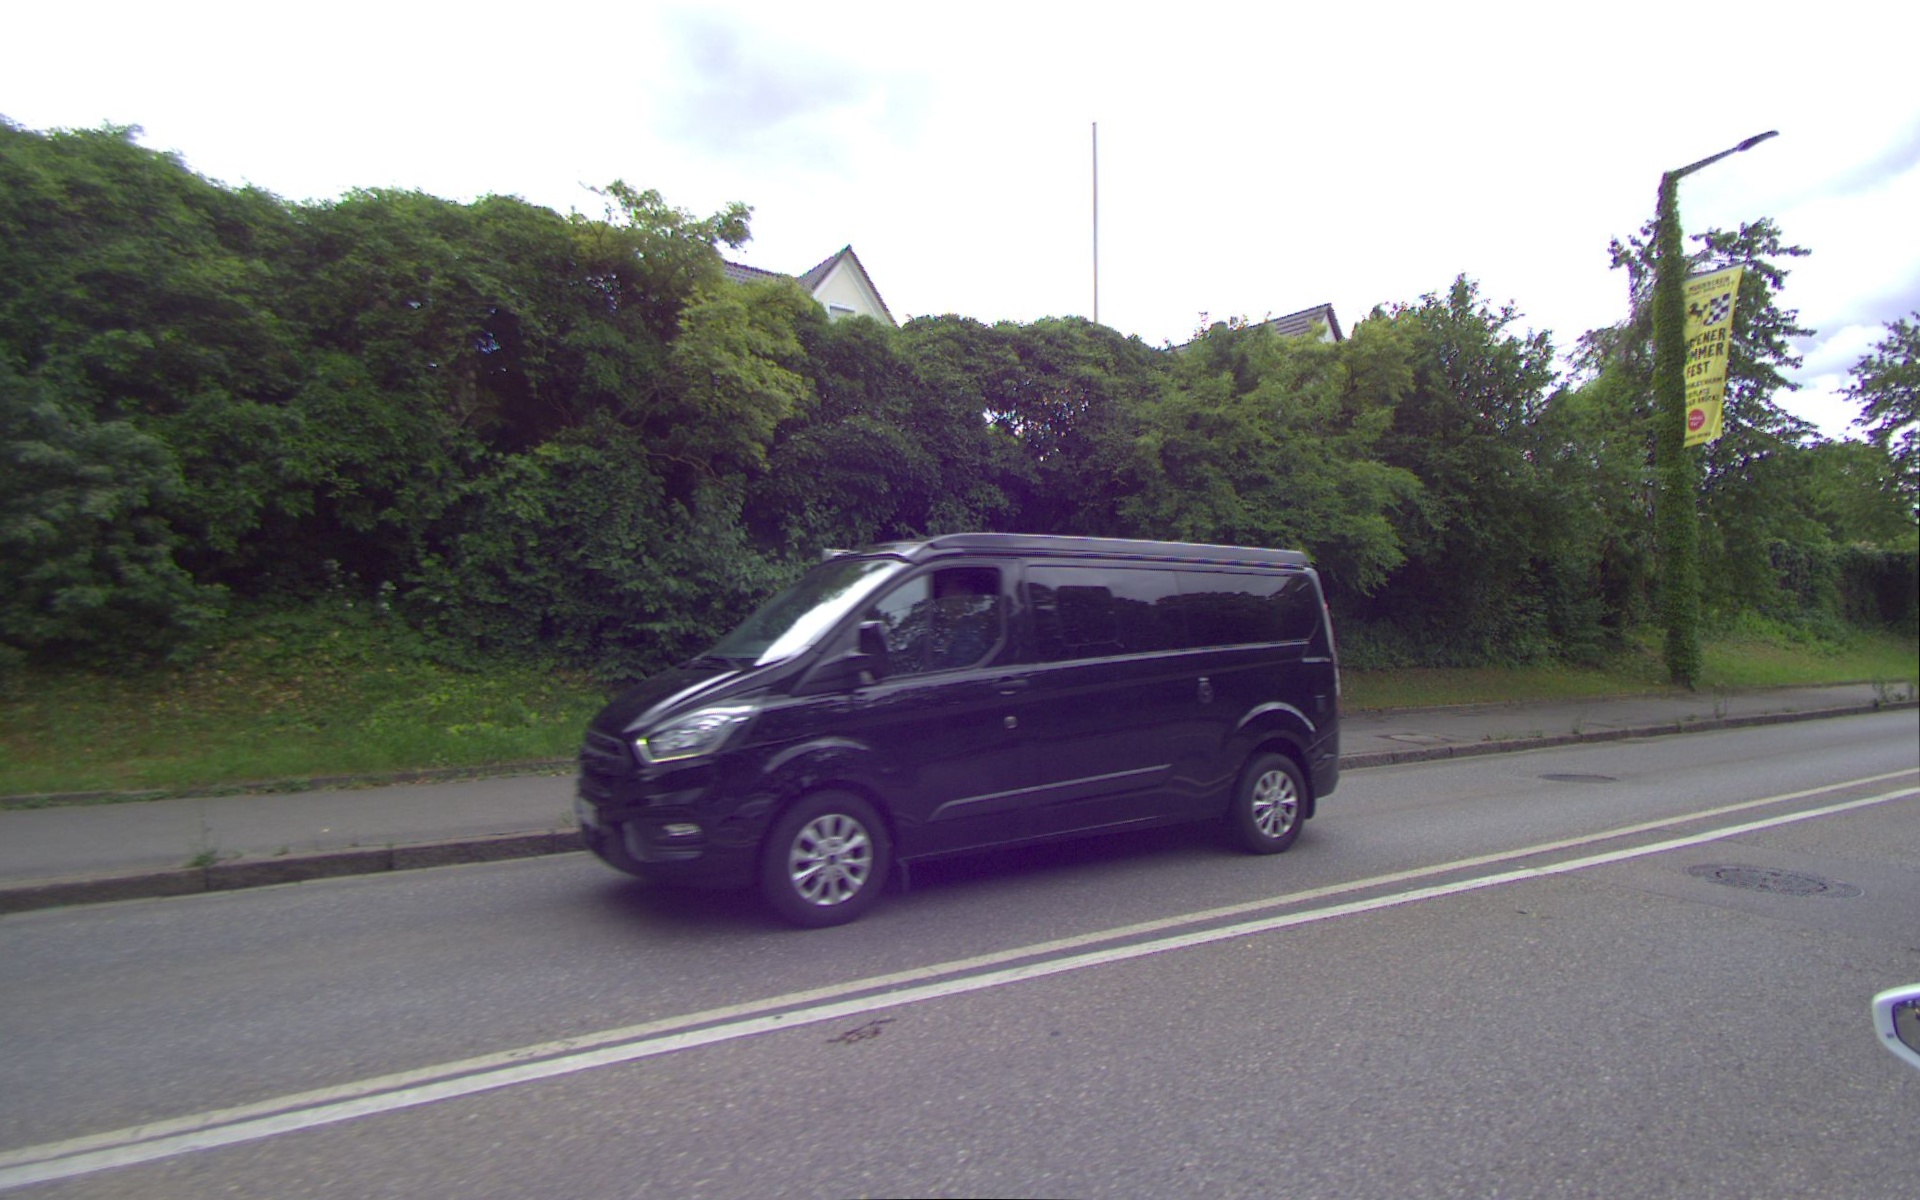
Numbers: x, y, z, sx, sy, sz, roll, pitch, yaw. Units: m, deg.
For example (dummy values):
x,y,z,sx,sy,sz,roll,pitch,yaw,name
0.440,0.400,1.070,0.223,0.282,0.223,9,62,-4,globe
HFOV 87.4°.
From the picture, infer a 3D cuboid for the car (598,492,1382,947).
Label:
x,y,z,sx,sy,sz,roll,pitch,yaw,name
0.400,0.629,6.783,5.060,2.063,1.983,1,-3,-33,car
